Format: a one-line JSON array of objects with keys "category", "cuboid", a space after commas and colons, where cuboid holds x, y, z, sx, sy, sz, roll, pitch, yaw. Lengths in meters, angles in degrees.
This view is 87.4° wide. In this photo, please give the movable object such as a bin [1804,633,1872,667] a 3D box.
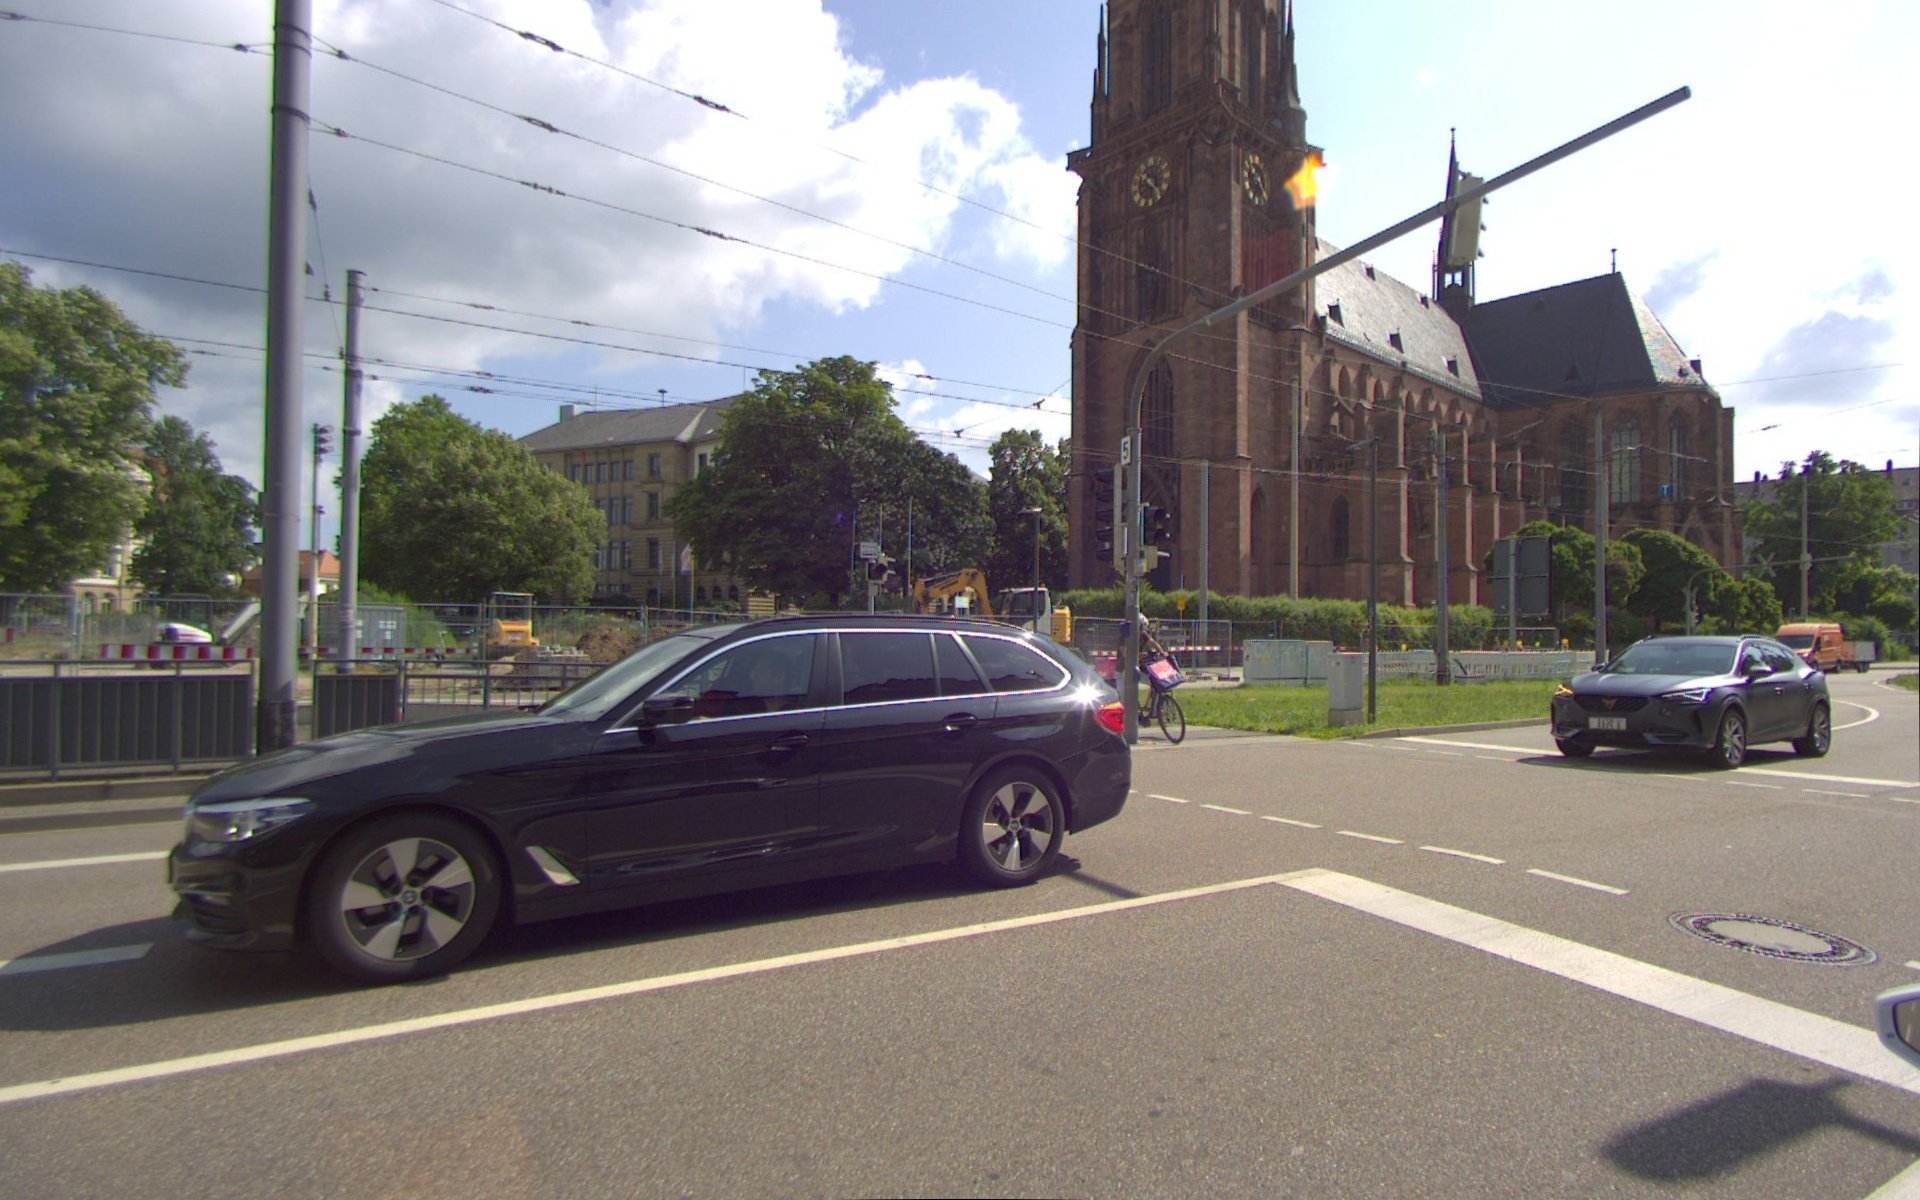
[{"category": "movable object such as a bin", "cuboid": [50.100, 2.808, 57.314, 3.681, 1.716, 2.191, -1, -1, -37]}]

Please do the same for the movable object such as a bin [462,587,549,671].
[{"category": "movable object such as a bin", "cuboid": [-17.250, 1.112, 37.969, 1.981, 2.949, 5.103, 2, -2, -36]}]

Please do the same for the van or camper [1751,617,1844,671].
[{"category": "van or camper", "cuboid": [44.924, 2.361, 53.862, 6.140, 2.773, 2.242, 2, -2, -34]}]

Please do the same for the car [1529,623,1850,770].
[{"category": "car", "cuboid": [9.215, 1.109, 12.614, 4.247, 1.572, 1.790, 2, -2, -32]}]

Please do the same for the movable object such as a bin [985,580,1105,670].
[{"category": "movable object such as a bin", "cuboid": [3.139, 0.897, 37.253, 3.946, 3.147, 1.987, -1, 0, -26]}]

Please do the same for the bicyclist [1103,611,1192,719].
[{"category": "bicyclist", "cuboid": [2.635, 0.902, 14.213, 0.812, 1.455, 1.088, 1, -2, -19]}]

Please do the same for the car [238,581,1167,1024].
[{"category": "car", "cuboid": [-1.130, 0.803, 5.571, 4.510, 1.572, 1.807, 2, -2, -33]}]

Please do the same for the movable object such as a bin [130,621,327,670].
[{"category": "movable object such as a bin", "cuboid": [-24.386, 1.499, 33.619, 5.117, 1.522, 1.975, 2, -3, -43]}]

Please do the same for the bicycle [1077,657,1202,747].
[{"category": "bicycle", "cuboid": [2.520, 1.411, 14.384, 0.916, 1.141, 2.017, 1, -2, -19]}]
